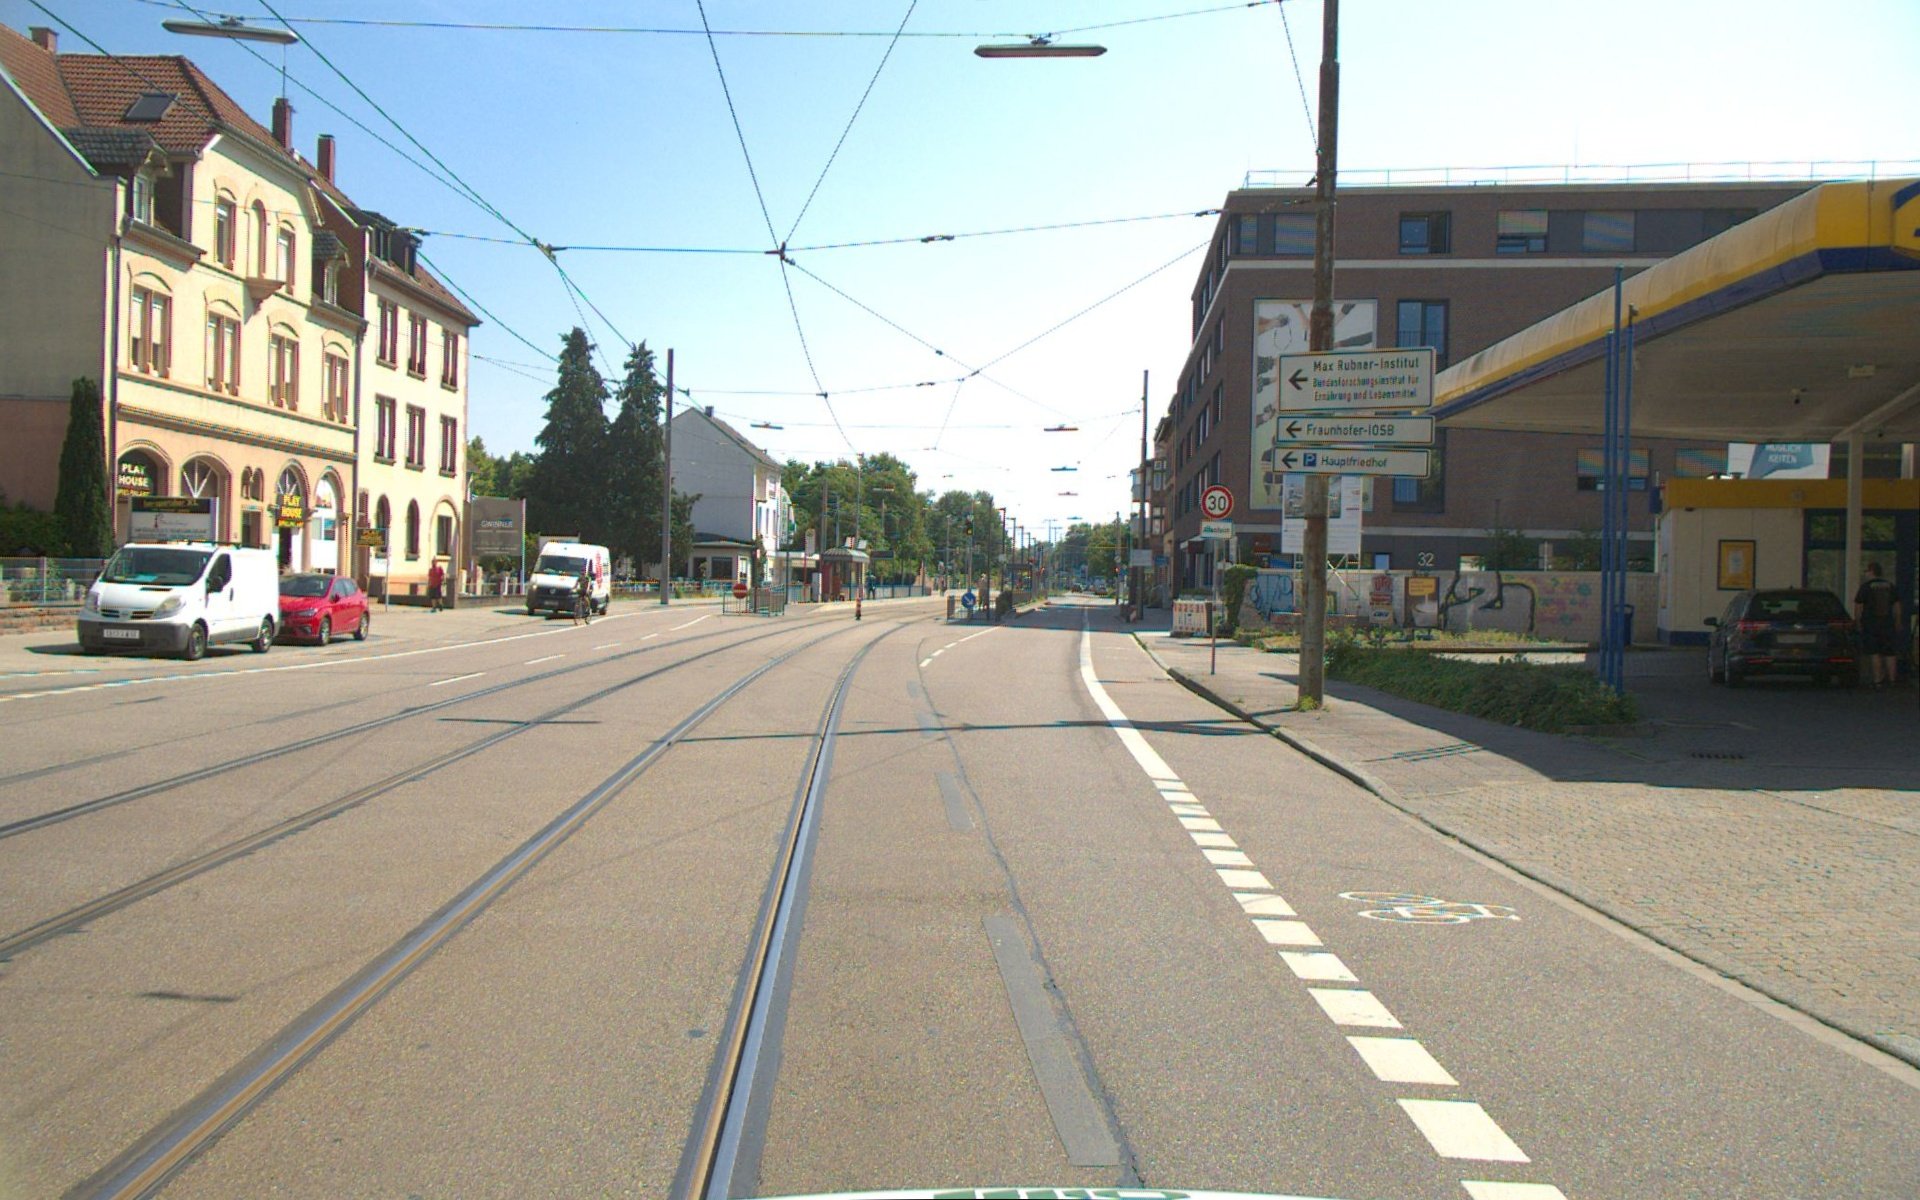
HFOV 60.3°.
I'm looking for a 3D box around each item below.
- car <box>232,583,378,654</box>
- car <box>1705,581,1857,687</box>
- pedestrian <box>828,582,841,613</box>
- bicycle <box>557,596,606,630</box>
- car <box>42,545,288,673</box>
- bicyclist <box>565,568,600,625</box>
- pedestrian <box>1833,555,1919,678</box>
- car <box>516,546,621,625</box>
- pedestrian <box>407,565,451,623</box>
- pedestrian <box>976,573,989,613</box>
[{"bbox_3d":[-14.085,0.351,35.809,1.685,1.431,4.000,0,1,-2],"label":"car"},{"bbox_3d":[12.606,0.459,25.623,1.720,1.481,4.409,0,1,21],"label":"car"},{"bbox_3d":[-7.079,-0.134,93.496,0.691,1.719,0.416,1,0,-3],"label":"pedestrian"},{"bbox_3d":[-11.585,0.383,50.680,0.595,1.001,2.166,1,1,13],"label":"bicycle"},{"bbox_3d":[-14.014,0.132,29.534,2.041,2.049,4.907,1,0,-1],"label":"car"},{"bbox_3d":[-11.580,-0.109,50.782,0.701,1.754,0.989,0,0,12],"label":"bicyclist"},{"bbox_3d":[13.318,0.235,24.058,0.838,1.755,0.745,0,0,0],"label":"pedestrian"},{"bbox_3d":[-14.052,-0.526,59.804,2.282,2.579,6.505,3,0,-1],"label":"car"},{"bbox_3d":[-17.192,-0.203,53.581,0.922,1.847,1.131,1,0,7],"label":"pedestrian"},{"bbox_3d":[1.024,-0.330,75.757,0.544,1.791,0.793,0,0,-1],"label":"pedestrian"}]
